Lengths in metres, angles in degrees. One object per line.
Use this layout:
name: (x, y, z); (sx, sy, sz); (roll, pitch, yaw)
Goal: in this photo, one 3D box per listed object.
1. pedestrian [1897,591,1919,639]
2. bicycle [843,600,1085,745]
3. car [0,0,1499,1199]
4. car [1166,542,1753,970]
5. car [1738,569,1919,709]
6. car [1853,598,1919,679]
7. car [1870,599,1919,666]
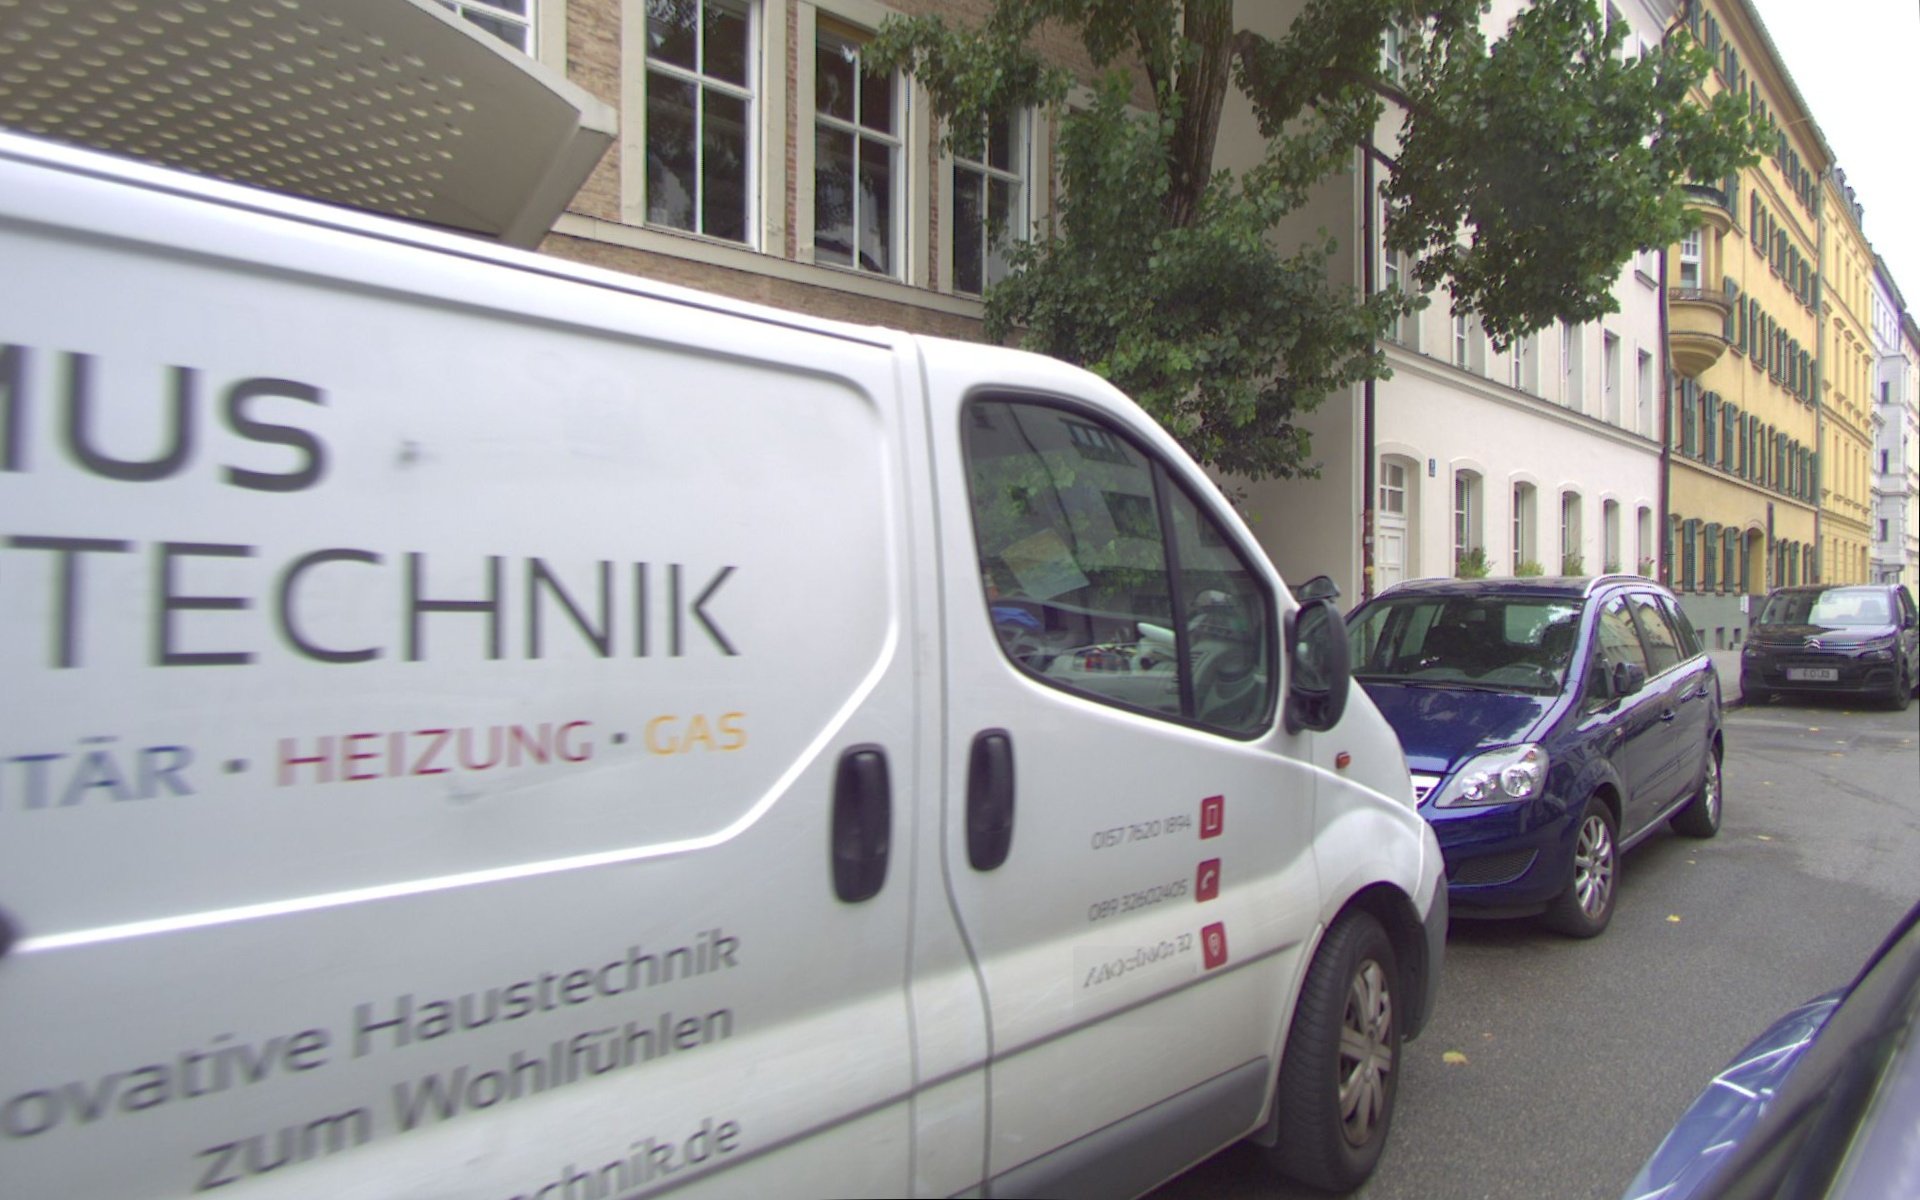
pedestrian: (34.282, 0.546, 36.494); (0.881, 1.659, 0.597); (1, 3, -44)
bicycle: (0.092, 0.553, 8.667); (2.185, 1.087, 0.671); (0, 1, -42)
car: (-0.940, 0.405, 2.007); (4.787, 1.948, 1.886); (0, 0, -40)
car: (3.161, 0.580, 5.939); (4.145, 1.620, 1.809); (0, 0, -44)
car: (13.266, 0.510, 15.099); (4.128, 1.799, 1.849); (0, -1, -42)
car: (18.715, 0.693, 19.610); (4.383, 1.442, 1.715); (0, 1, -43)
car: (22.989, 0.756, 23.950); (3.931, 1.482, 1.748); (1, 0, -42)
